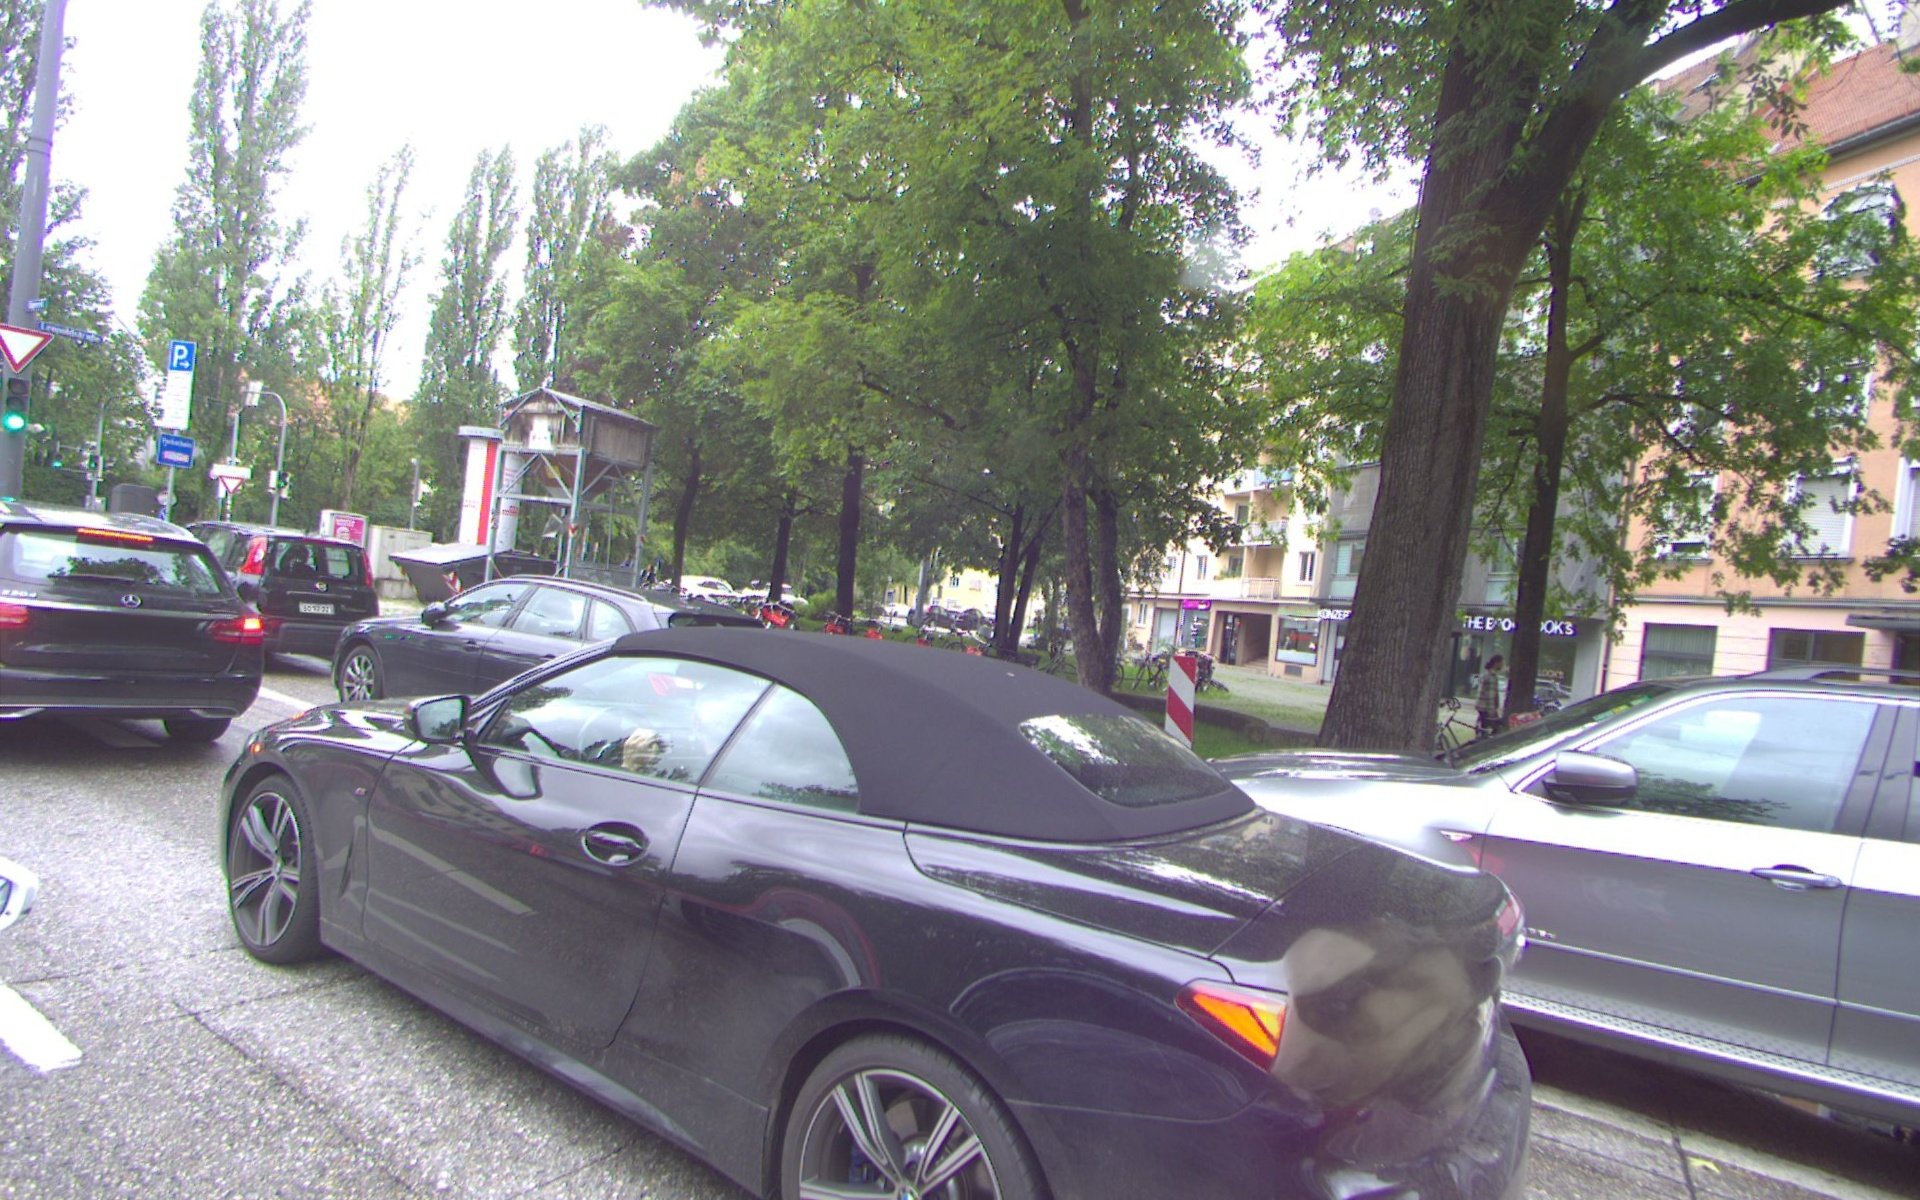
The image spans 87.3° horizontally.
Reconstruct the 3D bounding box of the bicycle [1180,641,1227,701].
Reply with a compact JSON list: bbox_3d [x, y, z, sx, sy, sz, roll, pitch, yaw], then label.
[{"bbox_3d":[6.742,1.945,27.952,0.619,1.374,2.467,7,2,2],"label":"bicycle"}]

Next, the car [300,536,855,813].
[{"bbox_3d":[-3.319,0.473,8.451,4.563,1.479,1.770,7,0,30],"label":"car"}]

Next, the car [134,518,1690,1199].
[{"bbox_3d":[-0.657,0.691,3.336,4.719,1.406,1.726,7,0,32],"label":"car"}]

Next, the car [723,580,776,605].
[{"bbox_3d":[-16.712,-0.580,80.027,1.755,1.504,4.134,7,0,27],"label":"car"}]

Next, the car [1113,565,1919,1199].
[{"bbox_3d":[3.186,1.068,4.249,4.475,1.842,1.935,7,0,27],"label":"car"}]

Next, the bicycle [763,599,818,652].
[{"bbox_3d":[-3.156,0.495,18.851,0.307,0.904,1.414,7,-2,17],"label":"bicycle"}]

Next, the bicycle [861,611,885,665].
[{"bbox_3d":[-1.581,0.679,18.154,0.308,0.904,1.412,7,-2,-5],"label":"bicycle"}]

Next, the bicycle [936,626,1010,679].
[{"bbox_3d":[0.266,1.062,20.291,1.395,0.904,0.311,8,-1,-25],"label":"bicycle"}]

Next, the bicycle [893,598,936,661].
[{"bbox_3d":[-1.078,0.673,24.332,0.619,1.374,2.468,7,1,3],"label":"bicycle"}]

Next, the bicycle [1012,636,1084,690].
[{"bbox_3d":[1.762,1.259,20.304,1.391,0.904,0.312,6,-1,38],"label":"bicycle"}]

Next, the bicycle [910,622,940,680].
[{"bbox_3d":[-0.601,0.850,17.001,0.308,0.904,1.412,7,-2,-5],"label":"bicycle"}]

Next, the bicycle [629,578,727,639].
[{"bbox_3d":[-5.733,0.208,20.597,0.619,1.028,2.241,7,-2,21],"label":"bicycle"}]

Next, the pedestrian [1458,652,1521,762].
[{"bbox_3d":[9.764,1.968,18.551,0.622,1.924,0.626,8,-1,-31],"label":"pedestrian"}]

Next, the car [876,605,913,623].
[{"bbox_3d":[-6.553,1.433,101.067,1.755,1.504,4.134,7,0,27],"label":"car"}]

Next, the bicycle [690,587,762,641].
[{"bbox_3d":[-4.587,0.289,19.808,0.308,0.904,1.408,6,-2,38],"label":"bicycle"}]

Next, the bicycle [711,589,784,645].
[{"bbox_3d":[-4.072,0.339,19.367,0.308,0.904,1.408,6,-2,38],"label":"bicycle"}]

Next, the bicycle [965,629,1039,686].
[{"bbox_3d":[0.788,1.083,19.107,1.391,0.904,0.312,6,-1,38],"label":"bicycle"}]

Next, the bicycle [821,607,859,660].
[{"bbox_3d":[-2.201,0.608,18.578,0.307,0.905,1.413,7,0,6],"label":"bicycle"}]

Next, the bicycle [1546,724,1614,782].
[{"bbox_3d":[8.961,2.221,14.530,1.167,0.732,0.316,9,-2,-33],"label":"bicycle"}]

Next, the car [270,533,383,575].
[{"bbox_3d":[-31.334,-2.272,49.861,1.756,1.504,4.345,7,0,30],"label":"car"}]

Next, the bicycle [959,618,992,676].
[{"bbox_3d":[0.253,0.778,17.058,0.308,0.904,1.412,7,-2,-5],"label":"bicycle"}]

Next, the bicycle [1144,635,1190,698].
[{"bbox_3d":[5.360,1.691,26.139,0.619,1.374,2.467,7,2,2],"label":"bicycle"}]

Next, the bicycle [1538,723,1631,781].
[{"bbox_3d":[10.001,2.422,16.144,0.316,0.732,1.167,8,-2,-36],"label":"bicycle"}]

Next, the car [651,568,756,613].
[{"bbox_3d":[-10.713,-0.359,42.347,1.700,1.424,4.370,7,0,27],"label":"car"}]

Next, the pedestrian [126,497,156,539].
[{"bbox_3d":[-35.188,-3.507,43.226,0.692,1.682,0.550,7,-1,-18],"label":"pedestrian"}]

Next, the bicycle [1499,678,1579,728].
[{"bbox_3d":[18.279,3.226,31.832,0.500,1.304,2.238,7,-2,-22],"label":"bicycle"}]

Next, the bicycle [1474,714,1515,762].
[{"bbox_3d":[8.876,2.296,16.693,0.314,0.732,1.174,6,-2,40],"label":"bicycle"}]

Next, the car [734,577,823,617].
[{"bbox_3d":[-8.443,-0.105,47.218,1.700,1.424,4.370,7,0,27],"label":"car"}]

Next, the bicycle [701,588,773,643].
[{"bbox_3d":[-4.328,0.315,19.600,0.308,0.904,1.408,6,-2,38],"label":"bicycle"}]

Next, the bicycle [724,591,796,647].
[{"bbox_3d":[-3.788,0.367,19.129,0.308,0.904,1.408,6,-2,38],"label":"bicycle"}]

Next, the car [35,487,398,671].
[{"bbox_3d":[-8.722,-0.285,11.694,4.480,1.568,1.832,7,0,33],"label":"car"}]

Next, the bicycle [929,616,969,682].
[{"bbox_3d":[-0.229,1.133,23.211,0.619,1.372,2.471,7,-2,3],"label":"bicycle"}]

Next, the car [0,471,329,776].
[{"bbox_3d":[-6.574,-0.049,6.881,4.626,1.567,1.867,7,-2,32],"label":"car"}]

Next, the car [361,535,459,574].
[{"bbox_3d":[-29.544,-2.436,54.160,1.756,1.504,4.251,7,0,30],"label":"car"}]

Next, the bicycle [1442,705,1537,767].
[{"bbox_3d":[7.938,2.033,15.101,1.163,0.732,0.317,6,-2,43],"label":"bicycle"}]

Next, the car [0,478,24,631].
[{"bbox_3d":[-11.530,-0.689,10.375,3.935,1.504,1.782,6,0,33],"label":"car"}]

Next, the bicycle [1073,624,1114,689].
[{"bbox_3d":[3.313,1.383,25.184,0.619,1.374,2.467,7,2,2],"label":"bicycle"}]
